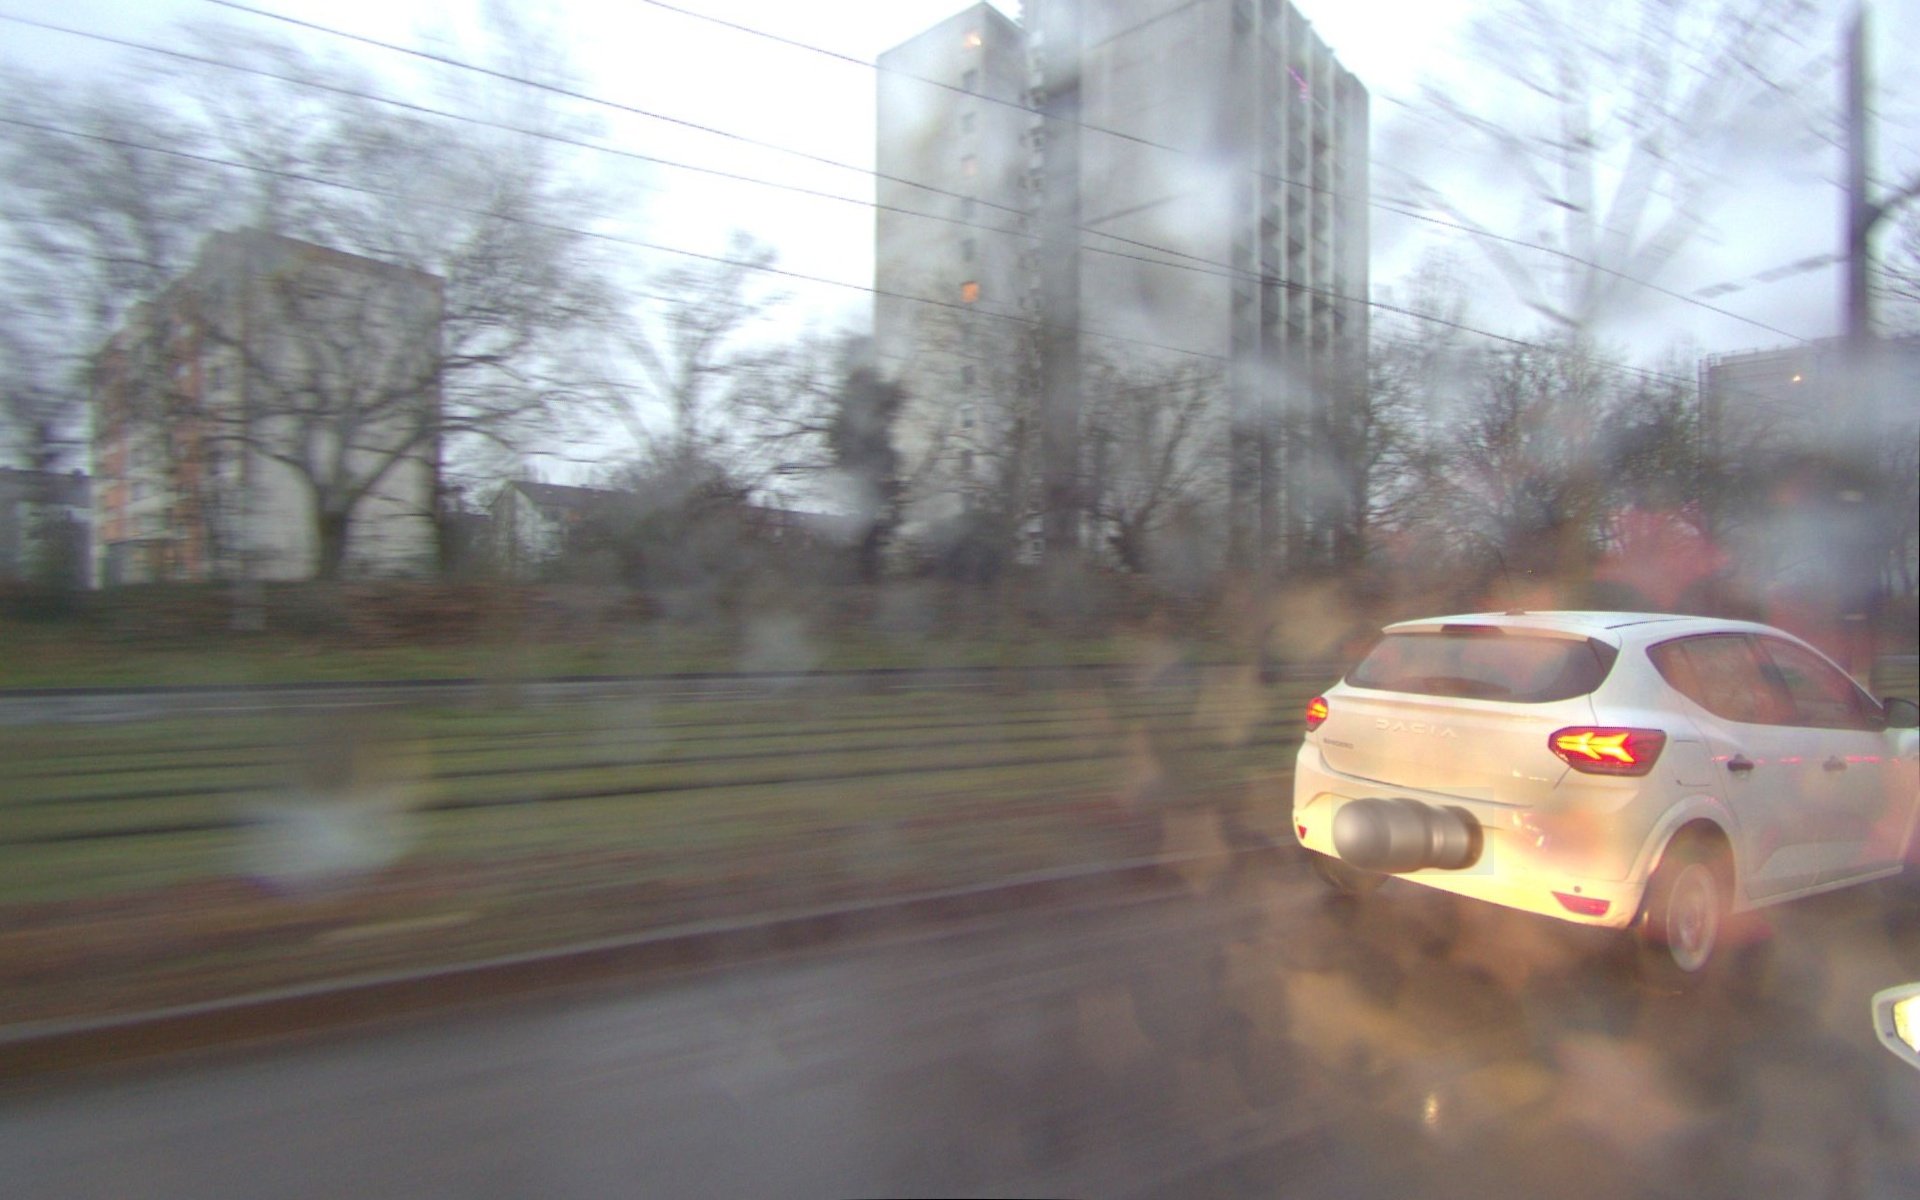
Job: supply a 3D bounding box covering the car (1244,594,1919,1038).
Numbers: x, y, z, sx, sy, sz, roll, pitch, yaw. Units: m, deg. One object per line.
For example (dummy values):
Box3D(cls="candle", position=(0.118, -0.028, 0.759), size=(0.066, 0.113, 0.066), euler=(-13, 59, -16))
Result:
Box3D(cls="car", position=(3.607, 0.795, 5.233), size=(4.083, 1.545, 1.702), euler=(1, -1, -28))
